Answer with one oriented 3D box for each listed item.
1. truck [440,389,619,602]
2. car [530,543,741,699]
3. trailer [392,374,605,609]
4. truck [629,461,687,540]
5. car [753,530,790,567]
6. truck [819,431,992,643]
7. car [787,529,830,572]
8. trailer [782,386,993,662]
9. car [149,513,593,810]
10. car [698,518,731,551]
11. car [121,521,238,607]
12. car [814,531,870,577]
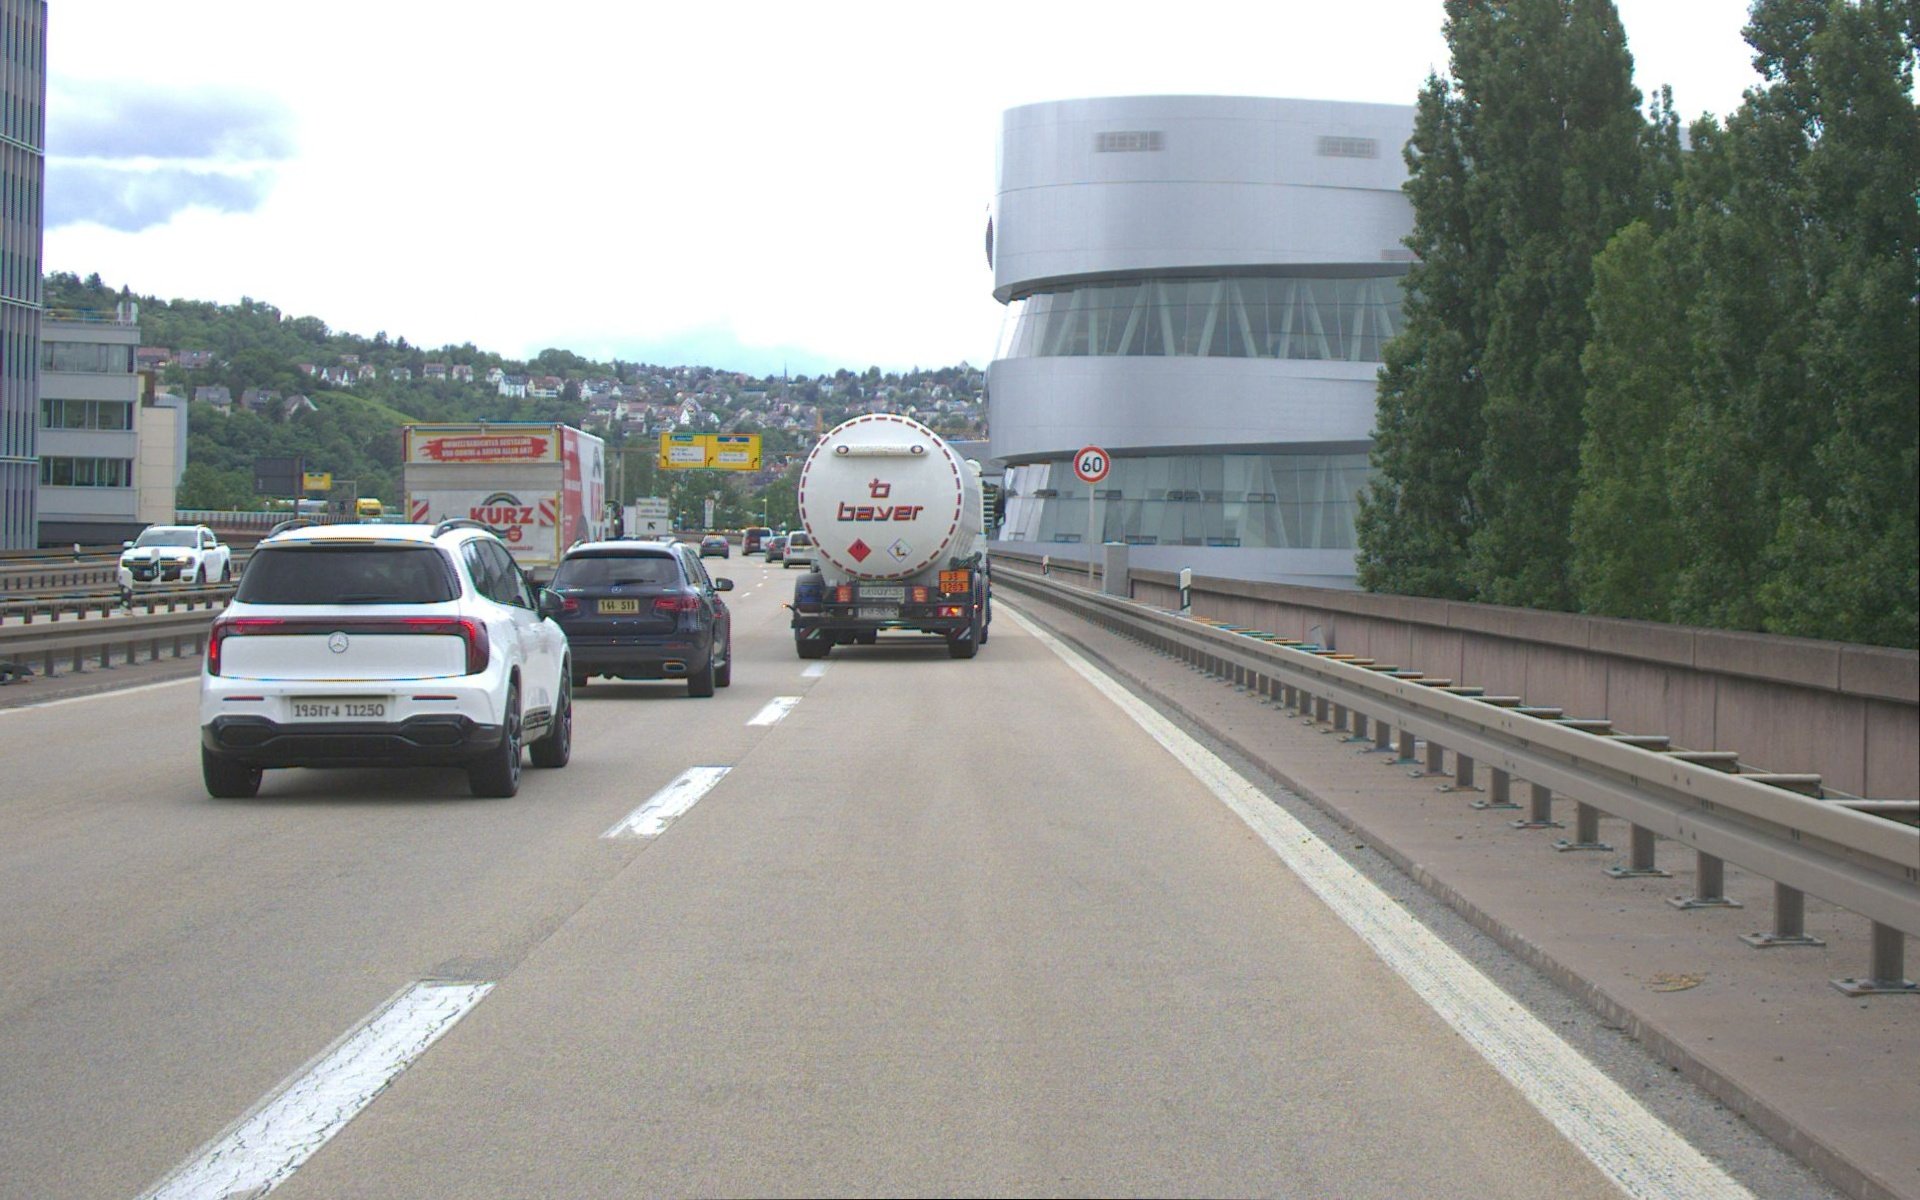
[{"bbox_3d":[-7.696,-1.863,61.905,2.690,3.677,4.439,0,1,-1],"label":"truck"},{"bbox_3d":[-3.411,0.189,36.785,1.846,1.499,4.265,2,1,-1],"label":"car"},{"bbox_3d":[-7.633,-1.780,57.728,2.690,3.677,7.314,0,1,-1],"label":"trailer"},{"bbox_3d":[-15.000,-4.920,171.023,2.395,3.880,5.943,0,1,-1],"label":"truck"},{"bbox_3d":[-10.441,-2.874,190.529,1.993,2.007,4.001,0,1,-4],"label":"car"},{"bbox_3d":[-0.860,-1.086,58.830,2.769,3.418,5.965,0,1,1],"label":"truck"},{"bbox_3d":[-7.354,-2.409,166.773,1.993,2.007,4.001,0,1,-4],"label":"car"},{"bbox_3d":[-0.933,-1.147,52.307,2.792,3.724,11.155,0,1,1],"label":"trailer"},{"bbox_3d":[-3.669,0.331,22.323,1.993,1.663,4.892,2,1,0],"label":"car"},{"bbox_3d":[-15.100,-4.049,211.429,1.993,2.007,4.001,0,1,-4],"label":"car"},{"bbox_3d":[-18.771,-0.879,82.865,1.993,2.007,4.000,0,1,-2],"label":"car"},{"bbox_3d":[-4.624,-1.784,134.572,1.993,1.533,4.000,7,0,-2],"label":"car"}]
